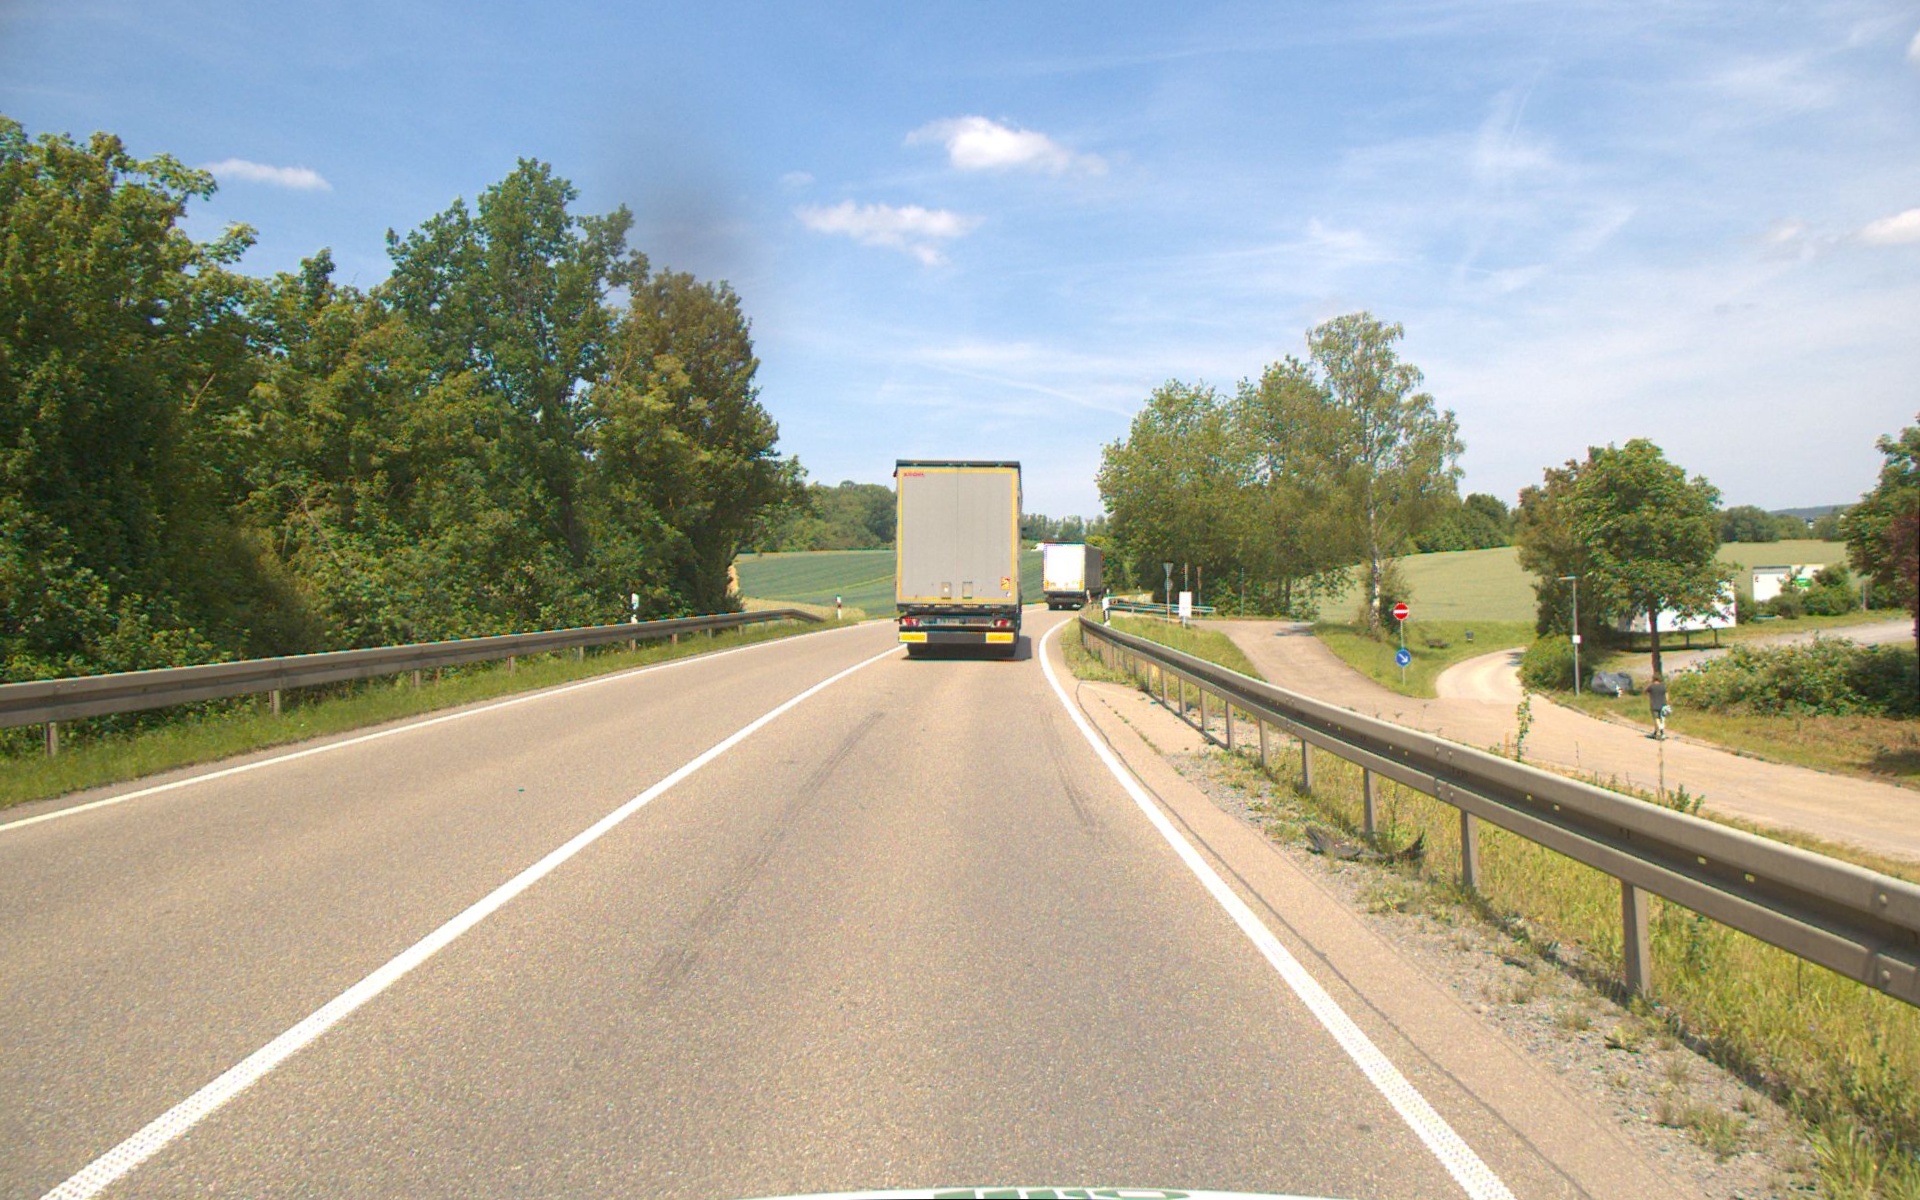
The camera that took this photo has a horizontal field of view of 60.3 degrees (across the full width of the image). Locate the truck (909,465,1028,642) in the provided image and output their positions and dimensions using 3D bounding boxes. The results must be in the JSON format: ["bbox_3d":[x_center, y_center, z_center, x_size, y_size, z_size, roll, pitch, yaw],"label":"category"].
[{"bbox_3d":[0.358,-1.254,46.239,3.053,4.573,6.813,0,1,2],"label":"truck"}]

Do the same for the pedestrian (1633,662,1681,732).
[{"bbox_3d":[19.480,2.696,46.226,0.866,1.842,0.959,-3,1,1],"label":"pedestrian"}]

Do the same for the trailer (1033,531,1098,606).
[{"bbox_3d":[6.908,-1.846,106.257,3.293,4.392,13.874,0,-1,7],"label":"trailer"}]

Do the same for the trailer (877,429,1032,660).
[{"bbox_3d":[0.123,-1.184,39.872,3.053,4.578,13.890,0,1,2],"label":"trailer"}]

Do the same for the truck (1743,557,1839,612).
[{"bbox_3d":[58.706,-1.124,116.796,7.059,3.597,3.113,-2,0,-36],"label":"truck"}]
